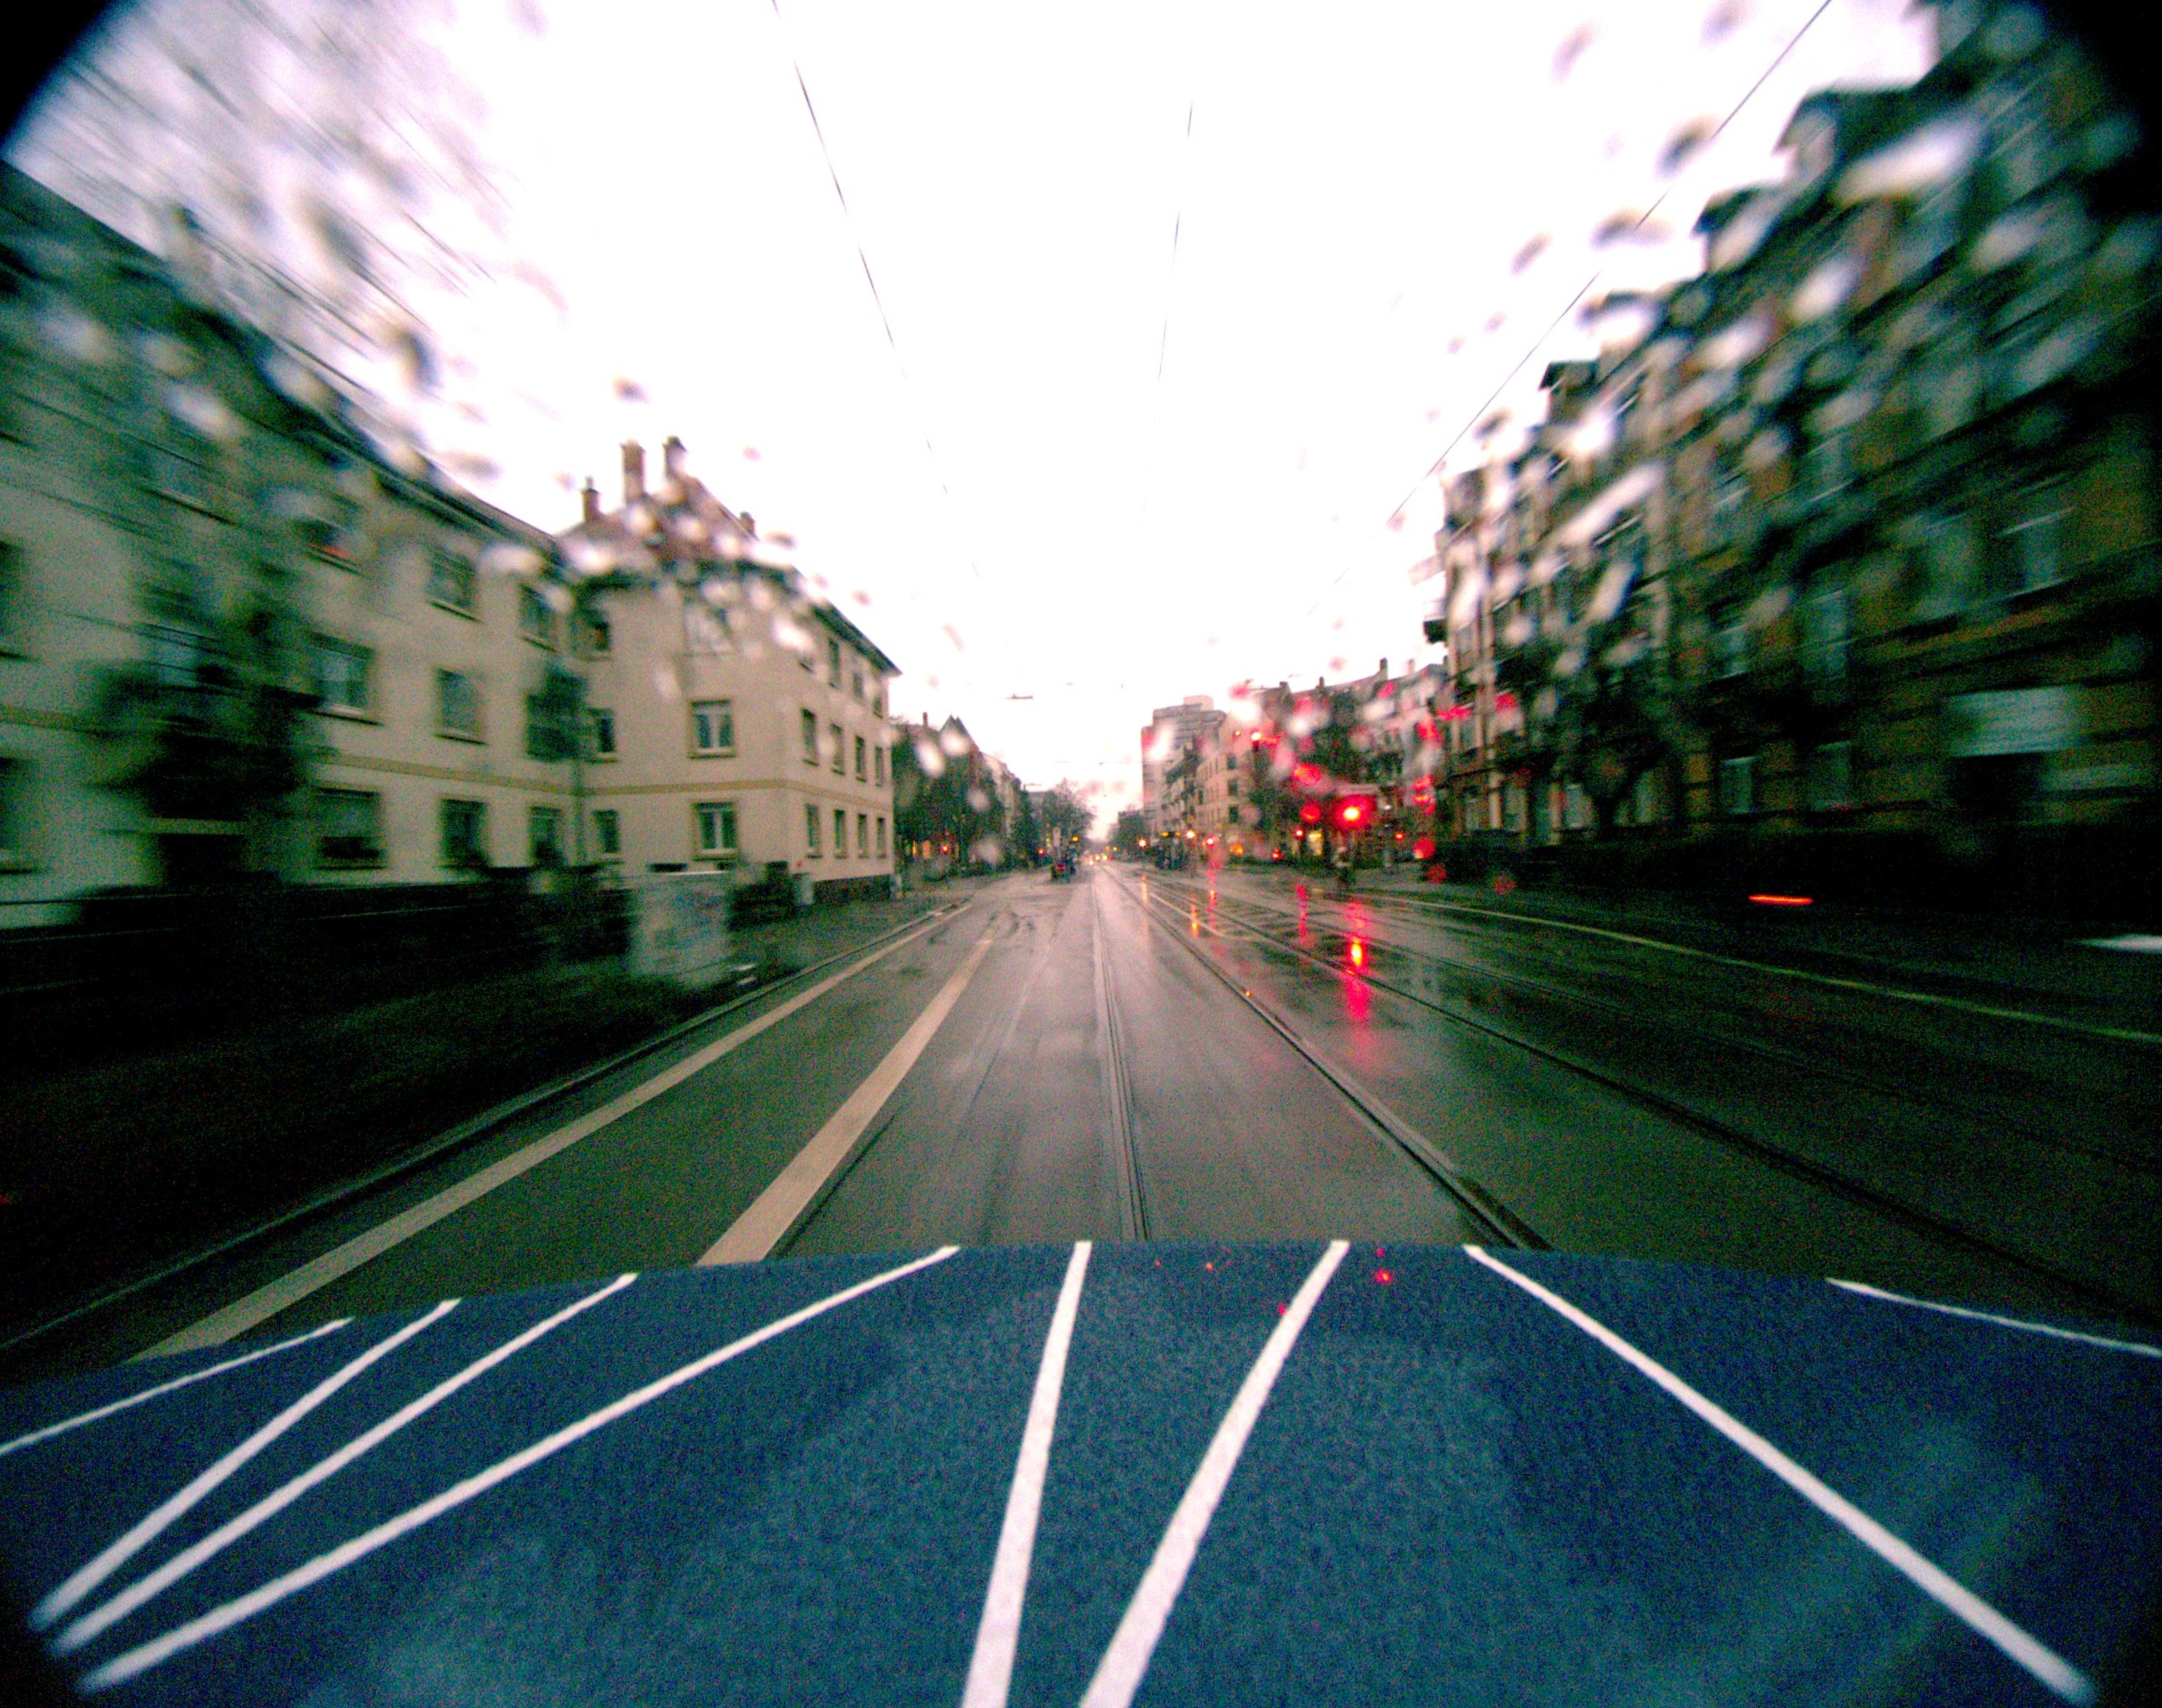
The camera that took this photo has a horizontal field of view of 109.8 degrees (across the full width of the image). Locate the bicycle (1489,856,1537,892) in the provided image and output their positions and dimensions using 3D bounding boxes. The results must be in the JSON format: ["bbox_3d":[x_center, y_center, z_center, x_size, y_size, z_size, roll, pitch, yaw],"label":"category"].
[{"bbox_3d":[12.802,0.558,22.558,0.417,1.001,1.849,-2,0,2],"label":"bicycle"}]

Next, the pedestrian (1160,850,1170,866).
[{"bbox_3d":[7.590,0.382,68.696,0.685,1.395,0.578,-4,1,1],"label":"pedestrian"}]

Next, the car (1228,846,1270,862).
[{"bbox_3d":[18.553,0.034,84.012,4.334,1.574,1.940,-2,0,19],"label":"car"}]

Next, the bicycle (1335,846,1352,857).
[{"bbox_3d":[25.994,-0.213,75.251,0.493,1.001,1.808,-3,0,-25],"label":"bicycle"}]

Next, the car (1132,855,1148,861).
[{"bbox_3d":[14.032,0.879,181.352,3.839,1.405,1.727,-1,0,1],"label":"car"}]

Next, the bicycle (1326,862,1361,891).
[{"bbox_3d":[9.633,0.808,27.967,0.683,1.001,1.803,-2,0,2],"label":"bicycle"}]

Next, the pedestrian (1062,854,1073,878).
[{"bbox_3d":[-1.035,0.884,56.939,0.659,1.698,0.571,-4,1,2],"label":"pedestrian"}]

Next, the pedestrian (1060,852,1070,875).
[{"bbox_3d":[-1.261,0.767,59.839,0.558,1.797,0.571,-4,1,2],"label":"pedestrian"}]

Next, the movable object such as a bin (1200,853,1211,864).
[{"bbox_3d":[17.768,0.634,108.346,1.352,1.364,1.281,-4,0,0],"label":"movable object such as a bin"}]

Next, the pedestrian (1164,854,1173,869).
[{"bbox_3d":[7.686,0.645,66.681,0.654,1.211,0.517,-4,1,1],"label":"pedestrian"}]

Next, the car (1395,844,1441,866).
[{"bbox_3d":[28.767,0.115,64.999,1.880,1.761,3.860,-1,0,-8],"label":"car"}]

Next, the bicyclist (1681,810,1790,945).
[{"bbox_3d":[8.220,0.284,9.575,0.685,1.606,0.765,-2,1,2],"label":"bicyclist"}]

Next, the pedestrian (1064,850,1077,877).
[{"bbox_3d":[-0.735,0.699,54.465,0.689,1.906,0.717,-4,1,-11],"label":"pedestrian"}]

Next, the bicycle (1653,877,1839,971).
[{"bbox_3d":[8.245,0.822,9.560,0.680,0.966,1.933,-2,0,2],"label":"bicycle"}]

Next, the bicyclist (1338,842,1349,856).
[{"bbox_3d":[25.983,-0.471,75.228,0.531,1.356,0.764,-4,1,-25],"label":"bicyclist"}]

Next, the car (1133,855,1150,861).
[{"bbox_3d":[14.175,0.885,178.675,3.839,1.405,1.727,-2,0,1],"label":"car"}]

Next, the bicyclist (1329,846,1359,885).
[{"bbox_3d":[9.601,0.412,27.763,0.706,1.356,0.944,-3,1,2],"label":"bicyclist"}]

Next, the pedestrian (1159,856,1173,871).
[{"bbox_3d":[7.528,0.841,67.363,1.058,1.247,0.506,-4,1,1],"label":"pedestrian"}]

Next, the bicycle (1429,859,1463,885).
[{"bbox_3d":[13.138,0.633,27.384,0.400,0.857,1.849,-2,0,2],"label":"bicycle"}]
